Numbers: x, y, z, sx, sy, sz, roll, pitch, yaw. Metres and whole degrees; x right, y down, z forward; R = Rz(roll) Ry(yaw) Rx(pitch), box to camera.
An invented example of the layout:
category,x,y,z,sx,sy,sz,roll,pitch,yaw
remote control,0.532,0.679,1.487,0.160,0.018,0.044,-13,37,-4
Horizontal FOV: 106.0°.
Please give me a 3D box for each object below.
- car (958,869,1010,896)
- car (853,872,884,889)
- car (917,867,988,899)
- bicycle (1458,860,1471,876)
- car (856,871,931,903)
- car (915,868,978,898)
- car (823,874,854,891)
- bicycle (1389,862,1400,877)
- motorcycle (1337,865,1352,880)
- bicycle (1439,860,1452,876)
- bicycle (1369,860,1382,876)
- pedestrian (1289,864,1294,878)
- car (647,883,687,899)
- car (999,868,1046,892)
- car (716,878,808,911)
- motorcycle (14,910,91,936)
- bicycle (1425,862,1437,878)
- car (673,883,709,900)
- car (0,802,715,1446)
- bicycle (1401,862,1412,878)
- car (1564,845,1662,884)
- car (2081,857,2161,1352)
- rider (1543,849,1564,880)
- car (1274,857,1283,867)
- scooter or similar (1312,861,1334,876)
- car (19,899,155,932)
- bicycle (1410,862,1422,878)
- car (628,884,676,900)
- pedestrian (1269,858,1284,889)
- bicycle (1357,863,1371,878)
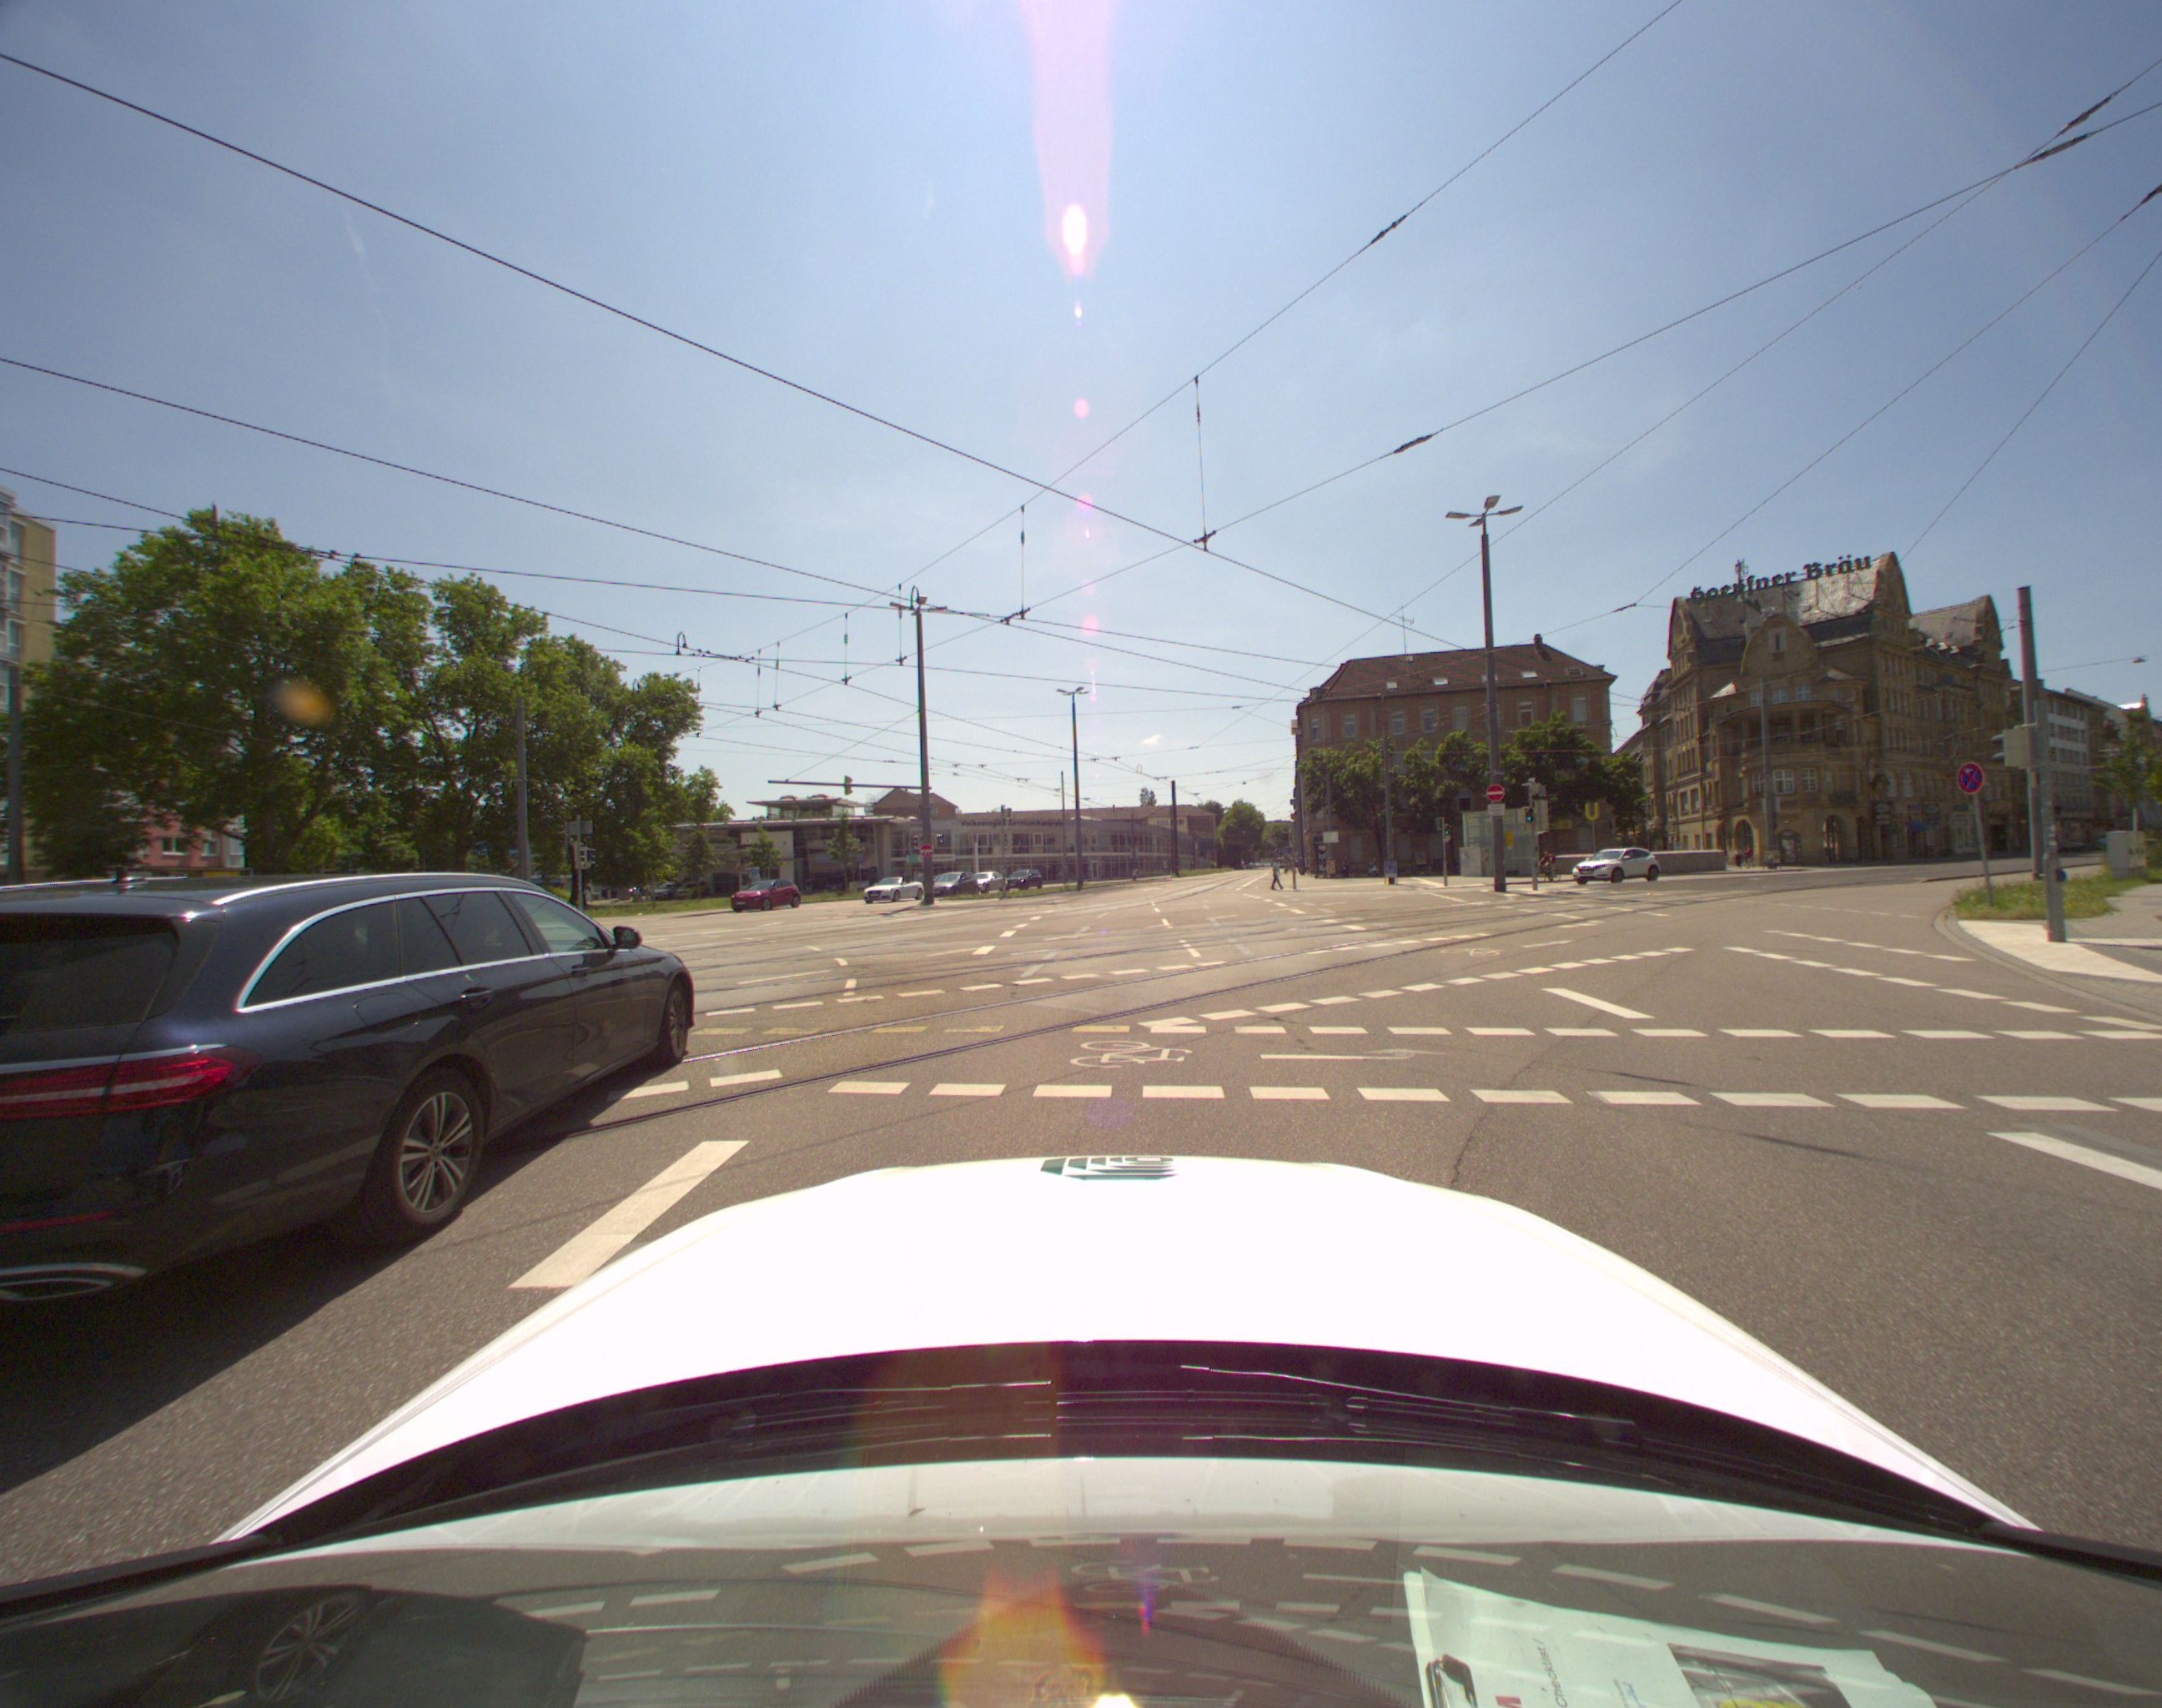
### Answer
category,x,y,z,sx,sy,sz,roll,pitch,yaw
car,-6.818,1.985,57.705,1.978,1.739,4.563,-2,-1,17
car,-21.133,2.653,81.164,1.914,1.707,3.999,0,-2,0
car,-7.127,1.599,45.762,1.978,1.637,4.867,-2,-1,17
bicycle,28.304,1.020,60.104,0.547,1.120,1.828,-2,-1,16
car,-10.363,1.790,45.393,2.062,1.580,4.863,-2,-1,13
car,-8.448,1.801,51.564,1.978,1.700,4.867,-2,-1,17
car,-24.101,2.847,81.033,1.914,1.707,3.999,0,-2,0
bicycle,23.243,1.151,60.427,0.547,1.120,1.828,-2,-1,16
motorcycle,19.679,1.347,60.858,0.577,1.074,1.948,-2,-1,3
bicycle,27.091,1.036,60.482,0.547,1.120,1.937,-2,-1,16
bicycle,22.003,1.073,60.851,0.440,1.146,2.097,0,-2,6
pedestrian,30.739,2.426,118.889,0.762,2.014,0.666,0,-2,11
car,-41.825,3.712,82.284,1.761,1.510,4.326,-2,-1,0
car,-4.573,2.036,64.421,2.062,1.683,4.867,-2,-1,17
car,-16.432,2.053,42.281,1.980,1.465,4.863,-2,-1,13
motorcycle,-42.904,2.874,34.009,1.926,0.961,0.520,-1,-1,-31
bicycle,26.028,1.201,60.571,0.547,1.120,1.878,-2,-1,16
car,-39.150,3.745,81.880,1.764,1.510,4.318,-2,-1,-5
car,-3.602,0.738,4.369,1.797,1.640,4.788,0,-1,-9
bicycle,24.021,1.187,60.163,0.547,1.120,1.828,-2,-1,16
car,23.886,0.460,36.559,4.200,1.605,1.680,-1,-1,-25
car,3.673,0.696,0.487,1.641,1.459,4.014,-1,-1,10
rider,25.177,0.554,43.426,0.878,1.601,0.559,-1,-1,-32
car,45.830,1.854,188.566,1.979,2.181,4.385,-1,-2,14
scooter or similar,18.945,1.131,63.629,1.799,1.181,0.593,-1,-2,-33
car,-51.919,3.186,42.642,4.007,1.420,1.983,-1,-1,-25
bicycle,24.701,1.181,60.039,0.547,1.120,1.897,-2,-1,16
car,-46.067,4.030,87.536,4.345,1.510,1.753,-1,-1,-36
pedestrian,10.908,1.110,45.388,0.464,1.708,0.633,-1,-2,-34
bicycle,21.089,1.209,60.754,0.548,1.120,1.823,-2,-1,6
